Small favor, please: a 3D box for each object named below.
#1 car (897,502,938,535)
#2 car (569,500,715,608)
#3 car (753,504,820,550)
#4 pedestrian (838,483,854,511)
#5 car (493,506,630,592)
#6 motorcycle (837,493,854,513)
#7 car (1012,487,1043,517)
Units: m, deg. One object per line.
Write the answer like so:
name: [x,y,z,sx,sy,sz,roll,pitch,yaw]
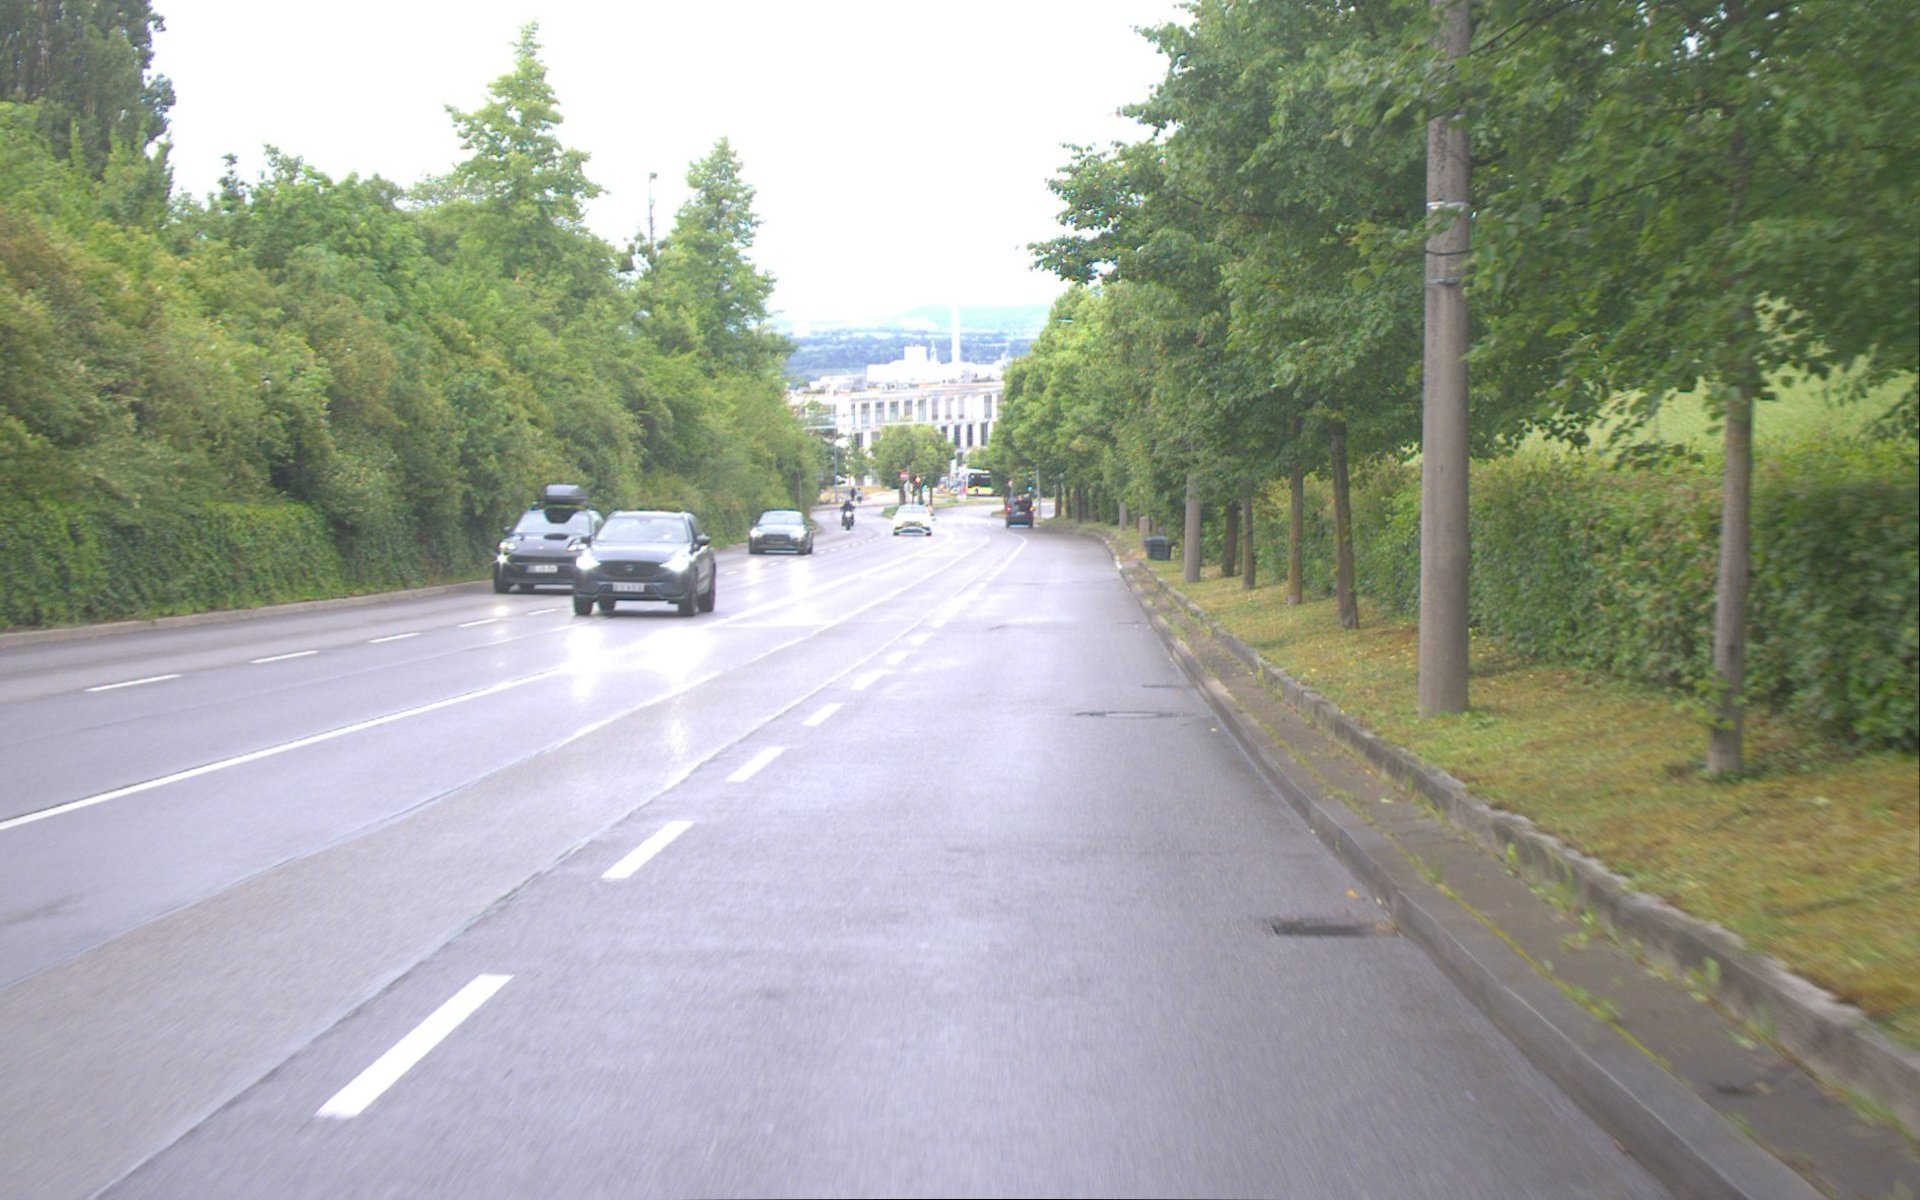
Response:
car: [-2.031,-3.949,165.276,1.715,1.499,4.517,2,2,2]
car: [-5.084,-0.776,55.472,1.812,1.652,4.595,1,1,1]
car: [-5.628,-2.391,112.027,1.760,1.376,4.838,2,2,2]
pedestrian: [-6.292,-5.676,189.291,0.805,1.536,1.111,1,2,2]
car: [-7.655,-1.013,66.409,1.899,1.547,4.630,2,1,2]
motorcycle: [-6.298,-5.340,189.281,0.805,1.127,2.231,1,2,2]
car: [4.107,-5.964,208.915,1.849,1.696,3.793,2,1,2]
